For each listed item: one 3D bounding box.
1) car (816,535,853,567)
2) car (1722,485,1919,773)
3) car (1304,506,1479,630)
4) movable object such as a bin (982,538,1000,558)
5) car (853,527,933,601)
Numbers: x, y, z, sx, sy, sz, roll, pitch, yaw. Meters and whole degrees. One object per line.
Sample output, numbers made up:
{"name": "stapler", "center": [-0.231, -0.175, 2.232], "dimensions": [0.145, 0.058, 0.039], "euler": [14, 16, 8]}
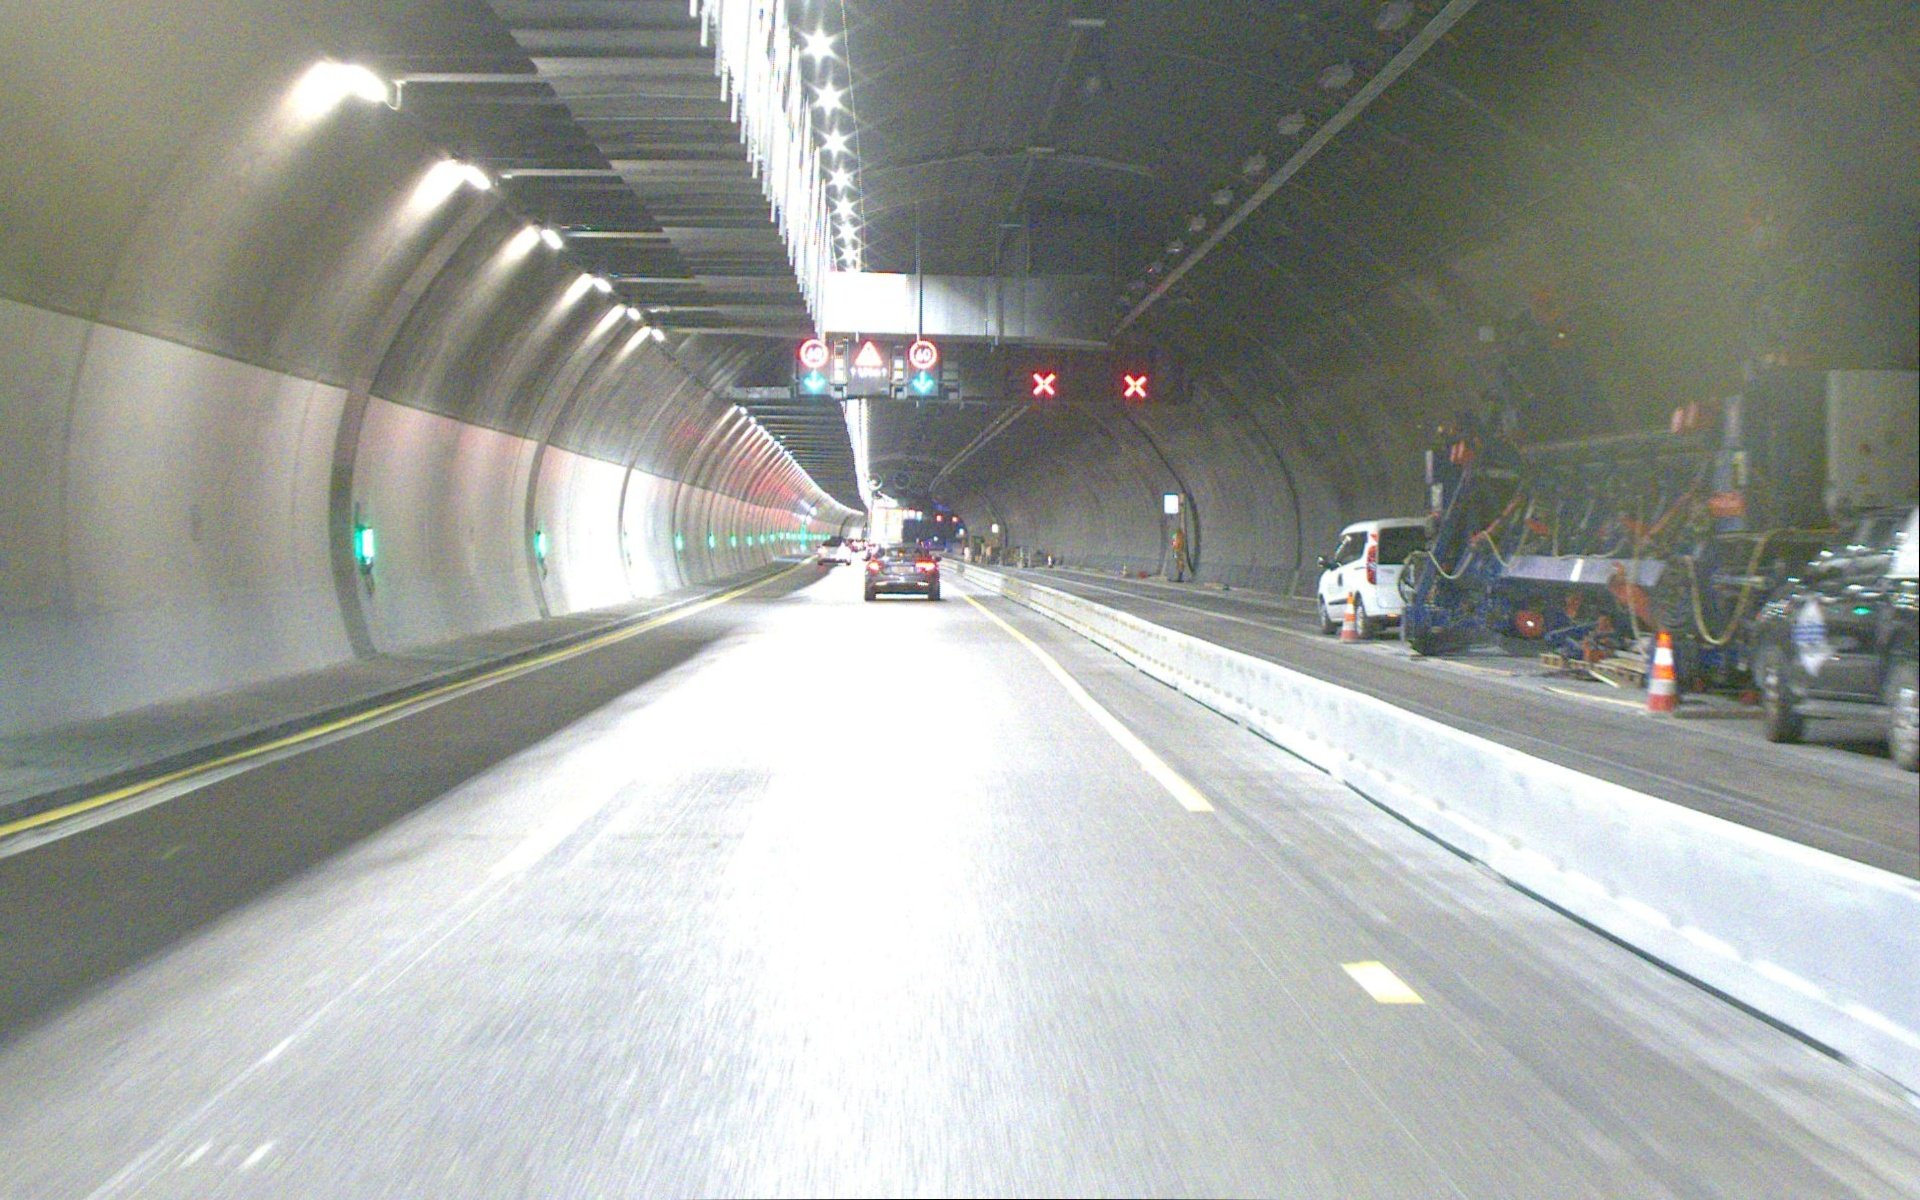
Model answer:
{"name": "car", "center": [-6.833, -2.691, 187.551], "dimensions": [1.930, 1.681, 4.000], "euler": [0, 1, -1]}
{"name": "car", "center": [7.003, 0.151, 24.239], "dimensions": [1.827, 1.852, 5.442], "euler": [1, 1, -2]}
{"name": "car", "center": [6.727, -0.528, 54.082], "dimensions": [1.750, 1.839, 4.647], "euler": [-1, 1, -5]}
{"name": "movable object such as a bin", "center": [2.303, -3.860, 256.420], "dimensions": [1.234, 1.437, 2.217], "euler": [2, 1, -2]}
{"name": "car", "center": [-1.700, -0.925, 85.953], "dimensions": [1.946, 1.788, 4.001], "euler": [0, 1, -2]}
